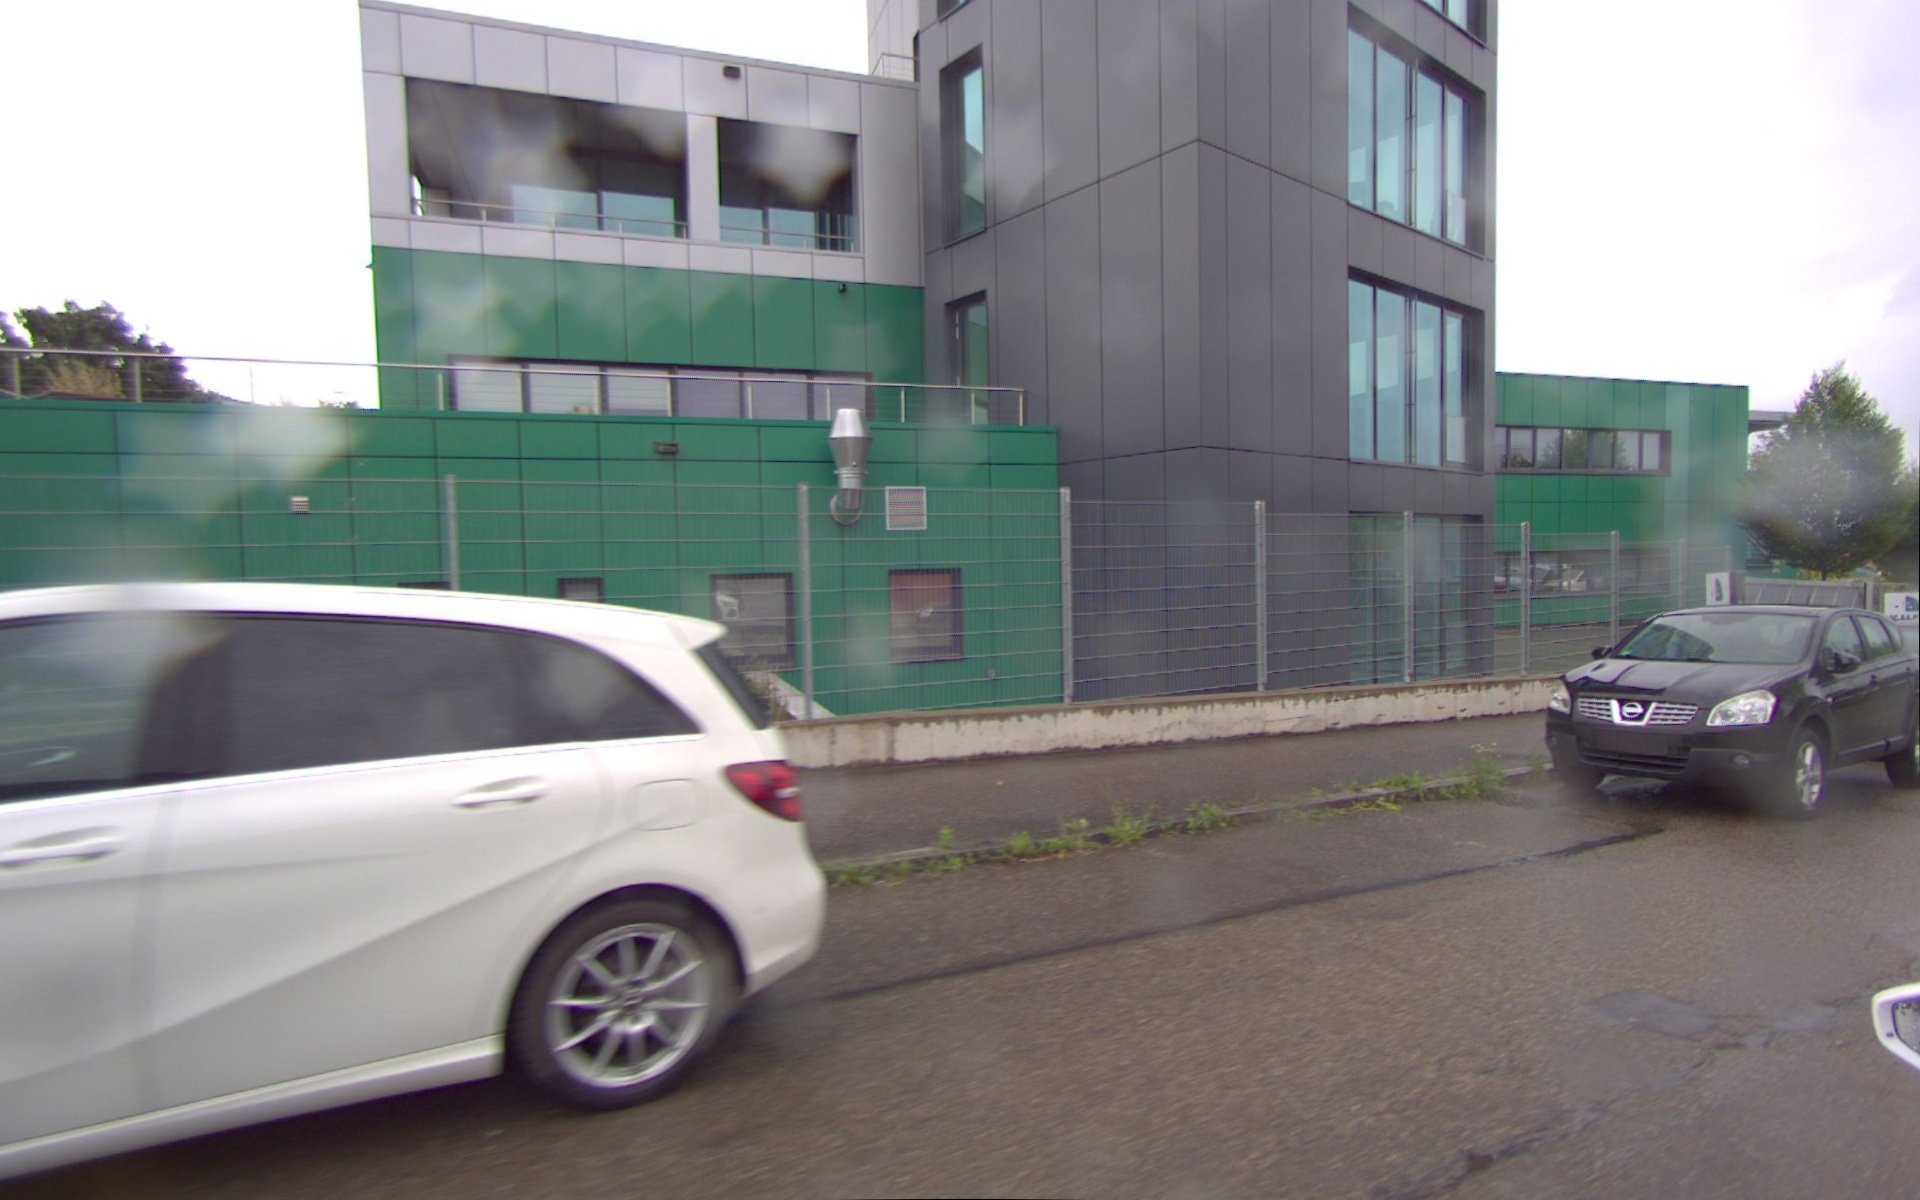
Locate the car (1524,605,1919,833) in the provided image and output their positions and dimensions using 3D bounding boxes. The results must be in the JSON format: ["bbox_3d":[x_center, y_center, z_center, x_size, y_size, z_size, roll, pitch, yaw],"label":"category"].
[{"bbox_3d":[6.837,0.838,8.752,4.037,1.579,1.624,0,0,-32],"label":"car"}]

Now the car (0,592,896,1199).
[{"bbox_3d":[-2.449,0.766,3.019,4.201,1.556,1.726,0,1,-31],"label":"car"}]

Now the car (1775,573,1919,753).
[{"bbox_3d":[11.180,0.656,11.561,3.917,1.821,1.729,1,0,-34],"label":"car"}]
